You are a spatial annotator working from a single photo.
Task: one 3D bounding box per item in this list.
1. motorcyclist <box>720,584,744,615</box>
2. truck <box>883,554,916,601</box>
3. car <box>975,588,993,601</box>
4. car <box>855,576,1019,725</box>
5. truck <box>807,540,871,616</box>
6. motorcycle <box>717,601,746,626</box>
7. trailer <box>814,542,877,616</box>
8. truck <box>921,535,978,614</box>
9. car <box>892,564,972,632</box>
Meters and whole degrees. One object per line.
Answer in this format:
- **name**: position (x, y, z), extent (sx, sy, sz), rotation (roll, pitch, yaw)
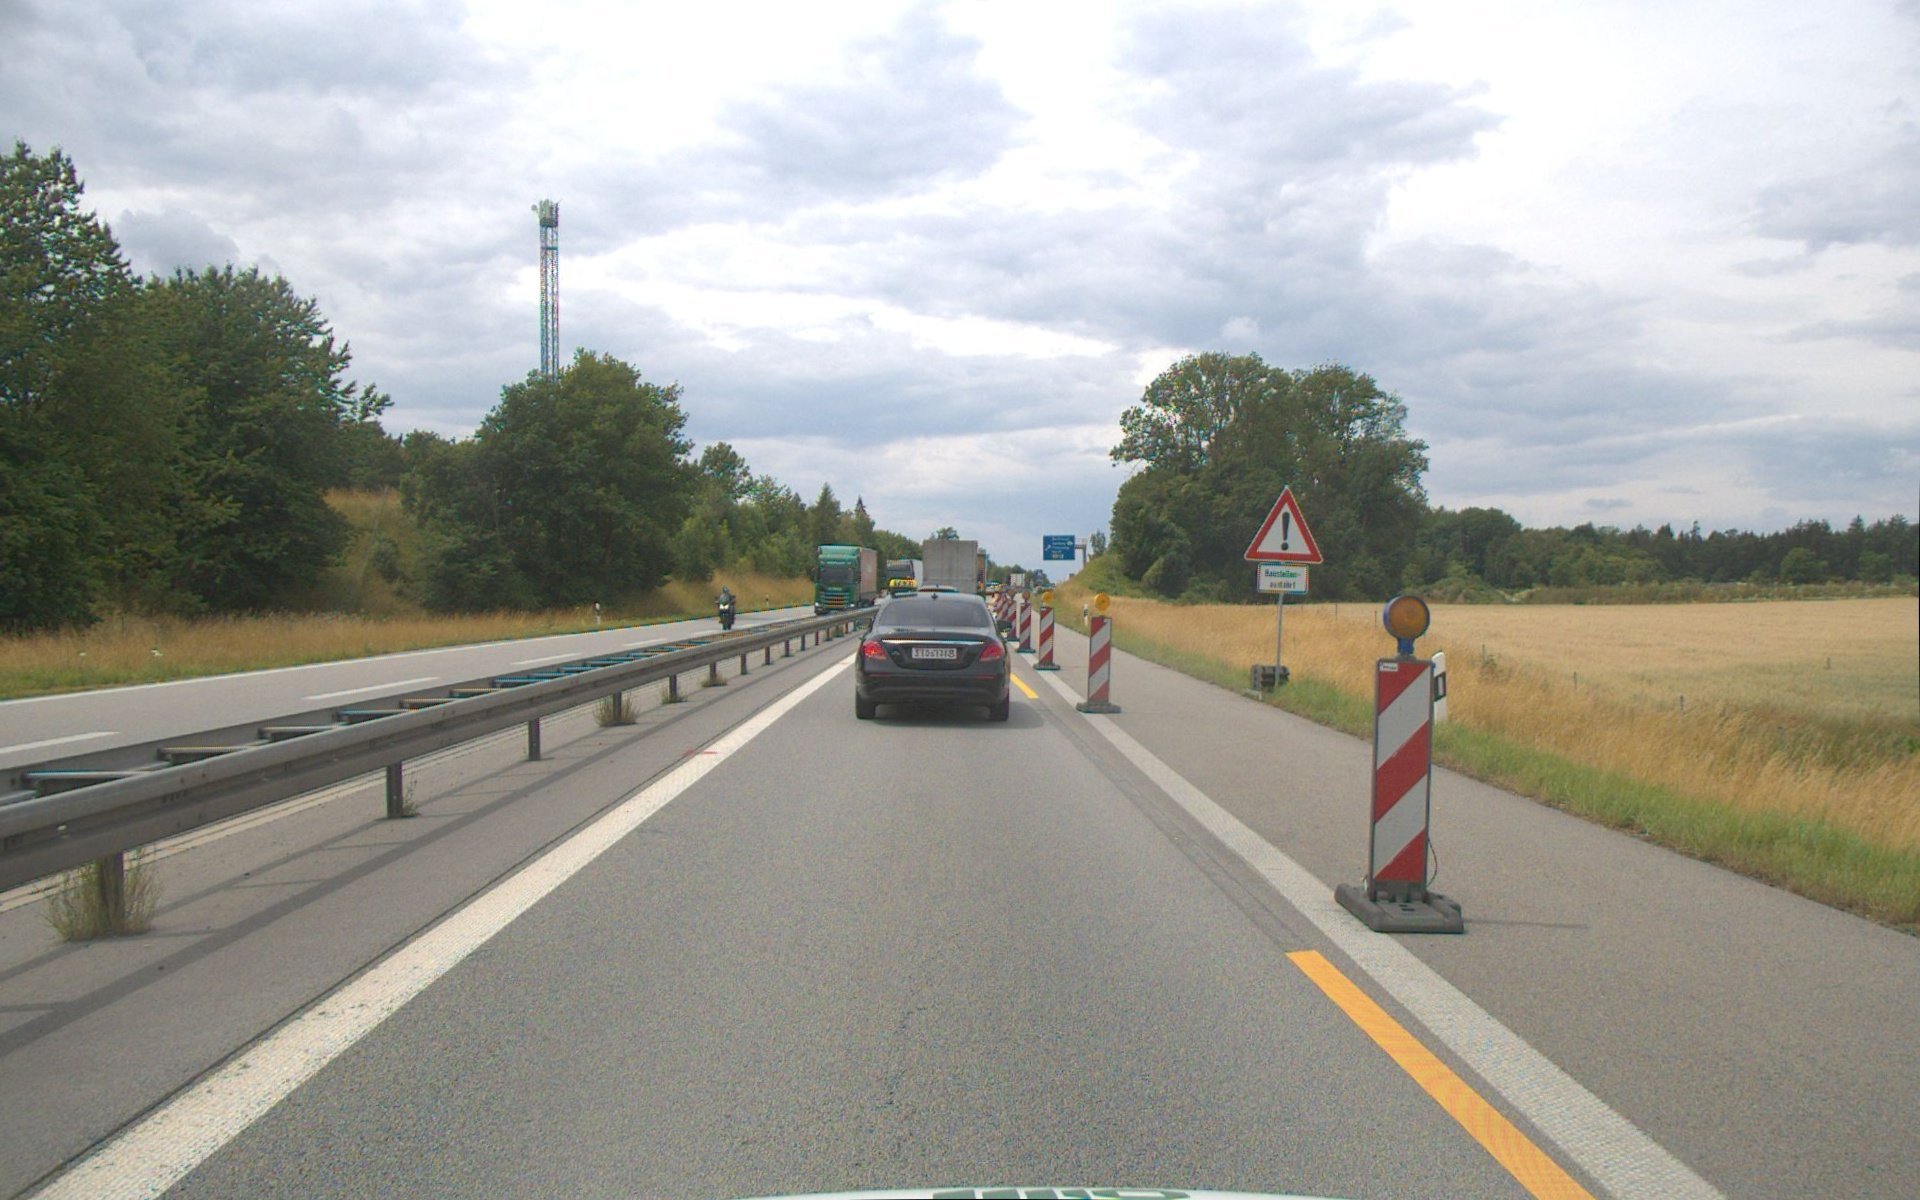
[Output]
- **motorcyclist**: position (-9.250, -0.003, 67.075), extent (0.843, 1.230, 0.960), rotation (1, -1, -1)
- **truck**: position (-5.731, -2.098, 157.700), extent (2.585, 4.243, 6.986), rotation (1, 0, 1)
- **car**: position (2.775, -0.605, 191.392), extent (1.617, 1.420, 3.702), rotation (1, 0, -5)
- **car**: position (-0.231, 0.565, 20.133), extent (1.759, 1.587, 4.000), rotation (1, 0, 0)
- **truck**: position (-7.123, -1.219, 98.263), extent (3.058, 4.287, 6.781), rotation (1, 0, 1)
- **motorcycle**: position (-9.265, 0.526, 67.171), extent (0.838, 0.950, 2.724), rotation (1, 0, -1)
- **trailer**: position (-7.080, -1.226, 103.854), extent (3.086, 4.287, 11.641), rotation (1, 0, 0)
- **truck**: position (-0.550, -1.184, 78.777), extent (2.535, 3.586, 4.811), rotation (1, 0, -2)
- **car**: position (-0.922, -0.049, 52.566), extent (1.957, 2.049, 3.991), rotation (2, 0, -9)
